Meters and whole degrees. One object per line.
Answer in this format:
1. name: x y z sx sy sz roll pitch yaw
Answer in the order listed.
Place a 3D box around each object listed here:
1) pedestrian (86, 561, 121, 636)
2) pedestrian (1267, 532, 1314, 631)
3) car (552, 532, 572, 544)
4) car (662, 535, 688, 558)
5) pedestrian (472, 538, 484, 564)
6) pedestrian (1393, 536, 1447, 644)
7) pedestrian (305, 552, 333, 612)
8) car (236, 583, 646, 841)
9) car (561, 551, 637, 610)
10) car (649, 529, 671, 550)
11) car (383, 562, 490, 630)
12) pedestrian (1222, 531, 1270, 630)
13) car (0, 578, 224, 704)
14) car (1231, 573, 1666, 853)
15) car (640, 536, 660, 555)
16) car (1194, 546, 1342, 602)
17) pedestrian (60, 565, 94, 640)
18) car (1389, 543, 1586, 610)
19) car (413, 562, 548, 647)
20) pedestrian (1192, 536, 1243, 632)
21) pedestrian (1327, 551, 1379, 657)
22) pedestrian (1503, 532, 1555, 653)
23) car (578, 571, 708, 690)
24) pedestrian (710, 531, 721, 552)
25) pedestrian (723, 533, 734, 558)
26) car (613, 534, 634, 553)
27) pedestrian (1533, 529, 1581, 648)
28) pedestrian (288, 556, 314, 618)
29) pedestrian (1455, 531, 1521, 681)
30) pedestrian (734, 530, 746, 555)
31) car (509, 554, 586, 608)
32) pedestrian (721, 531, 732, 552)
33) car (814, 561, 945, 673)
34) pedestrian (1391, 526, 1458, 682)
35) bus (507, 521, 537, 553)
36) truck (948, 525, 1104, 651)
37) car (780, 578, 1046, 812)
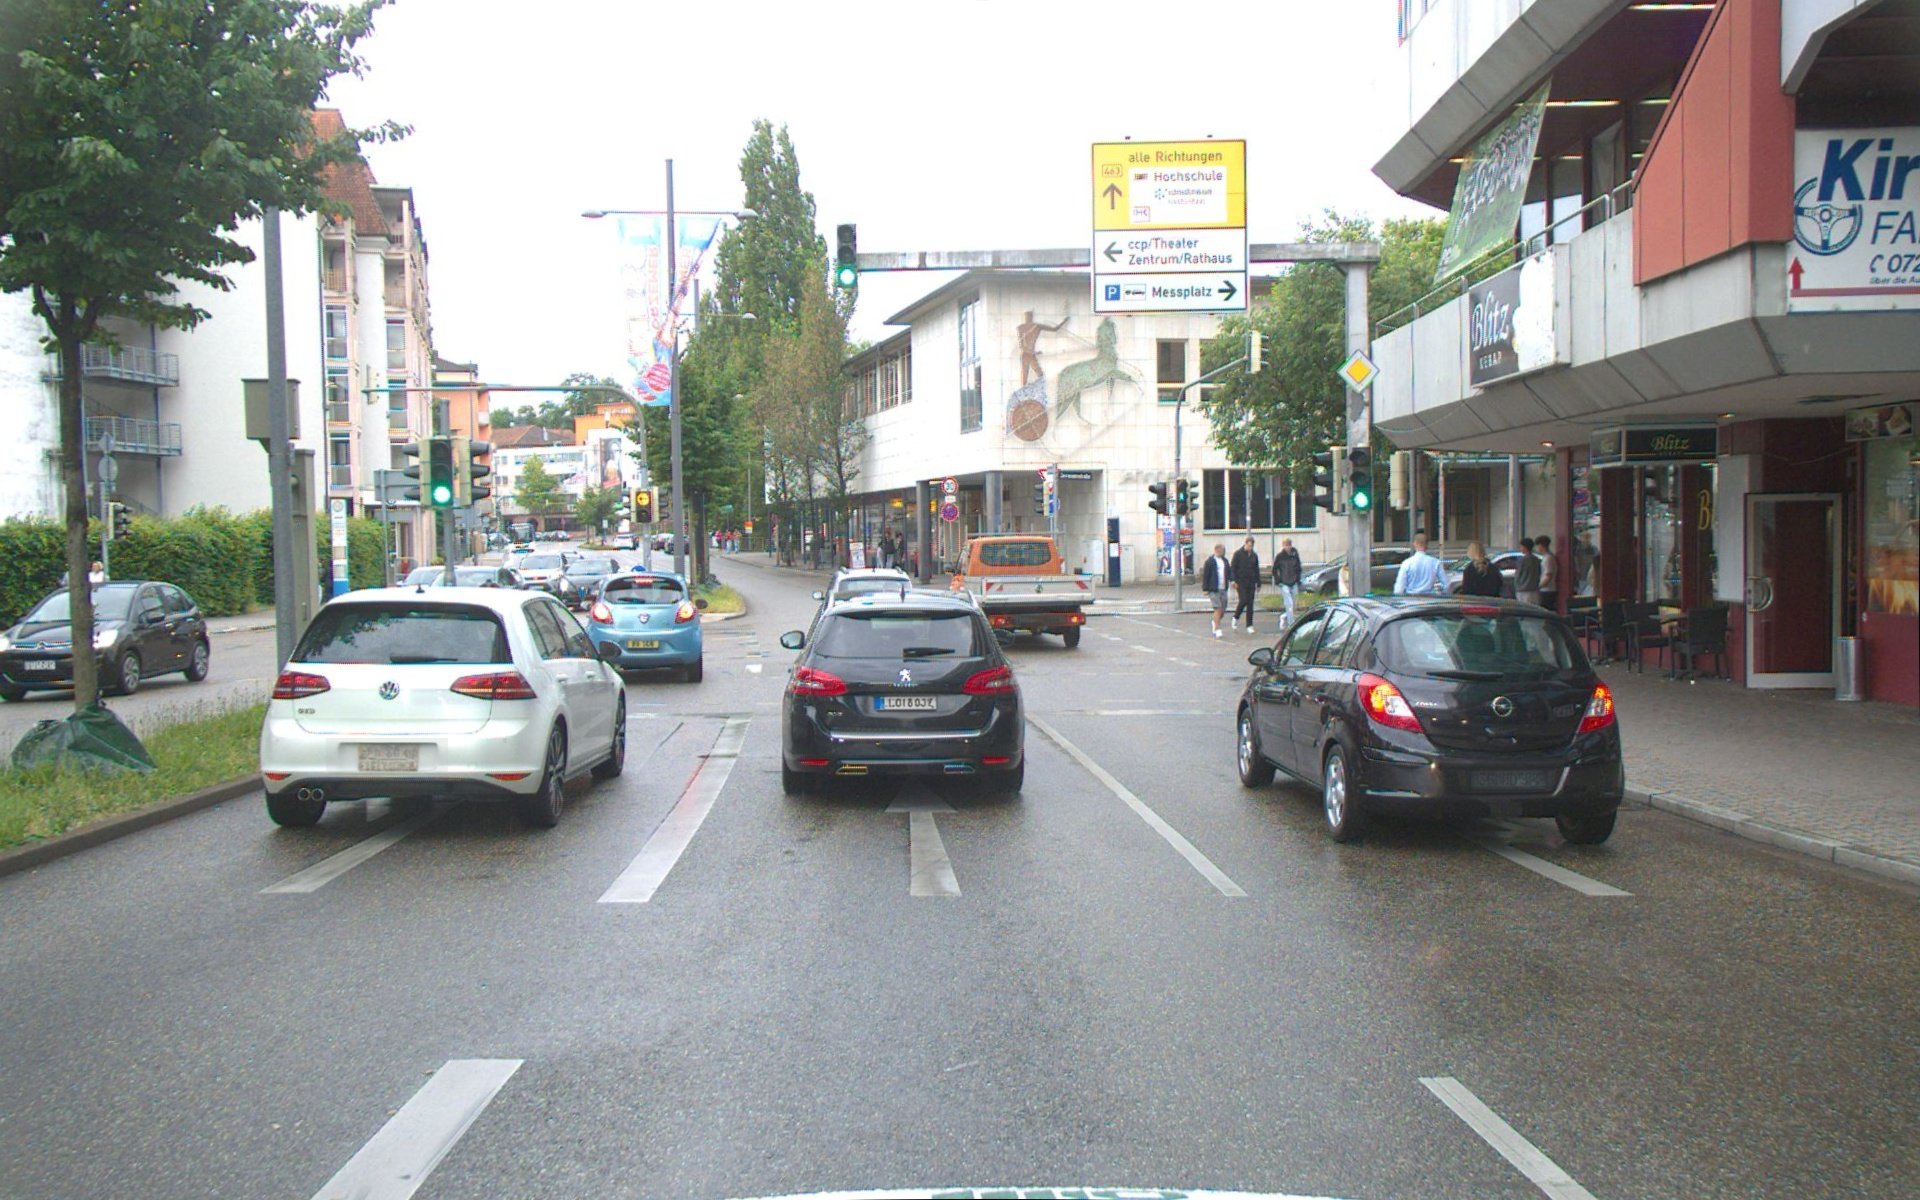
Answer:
1. pedestrian: -20.834 -0.034 40.233 0.516 1.795 0.592 2 1 -5
2. pedestrian: 6.551 -0.364 32.805 0.718 1.928 0.676 -1 0 -4
3. car: -59.924 -9.354 249.041 1.634 1.591 3.549 2 -1 -39
4. car: -22.152 -4.129 128.533 1.617 1.591 3.586 1 -1 -15
5. pedestrian: -33.691 -3.436 115.552 0.686 1.825 0.956 -1 2 -12
6. pedestrian: 7.680 -0.179 27.629 0.576 1.735 0.971 -3 2 -1
7. pedestrian: -19.351 -0.534 49.923 0.629 1.795 0.591 -1 -1 -7
8. car: -3.343 0.627 11.460 1.730 1.434 3.998 1 1 -3
9. car: -10.377 -0.600 47.733 1.591 1.582 3.657 -2 2 -4
10. car: -25.935 -5.205 142.945 1.617 1.591 3.586 1 -1 -15
11. car: -13.252 -0.136 42.025 1.639 1.541 3.642 -3 2 -3
12. pedestrian: 5.684 -0.393 32.923 0.743 1.934 0.789 -1 0 -3
13. car: -11.982 0.507 23.283 1.586 1.517 3.877 -3 1 -3
14. car: 3.042 0.600 11.122 1.674 1.482 3.741 0 2 -3
15. car: -29.340 -5.142 156.411 1.617 1.591 3.586 1 -1 -15
16. car: 8.411 -0.712 45.371 3.902 1.502 2.002 0 1 9
17. pedestrian: -21.403 0.059 40.082 0.516 1.795 0.592 1 2 -5
18. car: 12.505 -0.588 39.271 4.190 1.444 1.780 -2 2 -16
19. car: -9.518 0.049 33.094 1.679 1.504 3.955 -3 1 -3
20. pedestrian: 4.967 -0.314 31.924 0.734 1.810 0.887 -1 0 -6
21. pedestrian: 6.530 0.049 27.503 0.562 1.692 0.940 -3 2 -1
22. pedestrian: 8.554 -0.114 24.891 0.583 1.794 0.492 -1 0 -2
23. car: -4.519 0.373 23.839 1.665 1.500 3.682 -2 2 -10
24. pedestrian: -19.029 -4.547 128.677 0.705 1.647 0.766 -3 3 -15
25. pedestrian: -17.193 -4.061 122.830 0.643 1.797 0.919 -3 3 -15
26. car: -31.126 -5.206 152.908 1.617 1.591 3.586 1 -1 -15
27. pedestrian: 9.091 -0.173 25.182 0.515 1.794 0.511 -1 0 -2
28. pedestrian: -19.227 -0.377 48.262 0.516 1.795 0.630 -1 -1 -7
29. pedestrian: 6.506 0.074 20.417 0.609 1.804 0.677 -1 0 3
30. pedestrian: -16.358 -4.277 122.970 0.687 1.832 0.604 -3 3 -15
31. car: -14.336 -0.679 57.680 1.791 1.766 4.308 -2 1 -4
32. pedestrian: -18.158 -4.561 128.848 0.714 1.616 0.604 -3 3 -15
33. car: -1.333 0.203 25.923 1.761 1.509 3.995 -2 2 -7
34. pedestrian: 5.741 0.045 20.474 0.609 1.879 0.848 -1 0 3
35. bus: -48.225 -6.954 181.909 2.700 3.128 12.185 -2 4 -17
36. truck: 1.108 -0.267 30.345 2.082 2.060 4.709 -2 2 -7
37. car: -0.333 0.607 12.985 1.758 1.509 4.000 0 1 -1
